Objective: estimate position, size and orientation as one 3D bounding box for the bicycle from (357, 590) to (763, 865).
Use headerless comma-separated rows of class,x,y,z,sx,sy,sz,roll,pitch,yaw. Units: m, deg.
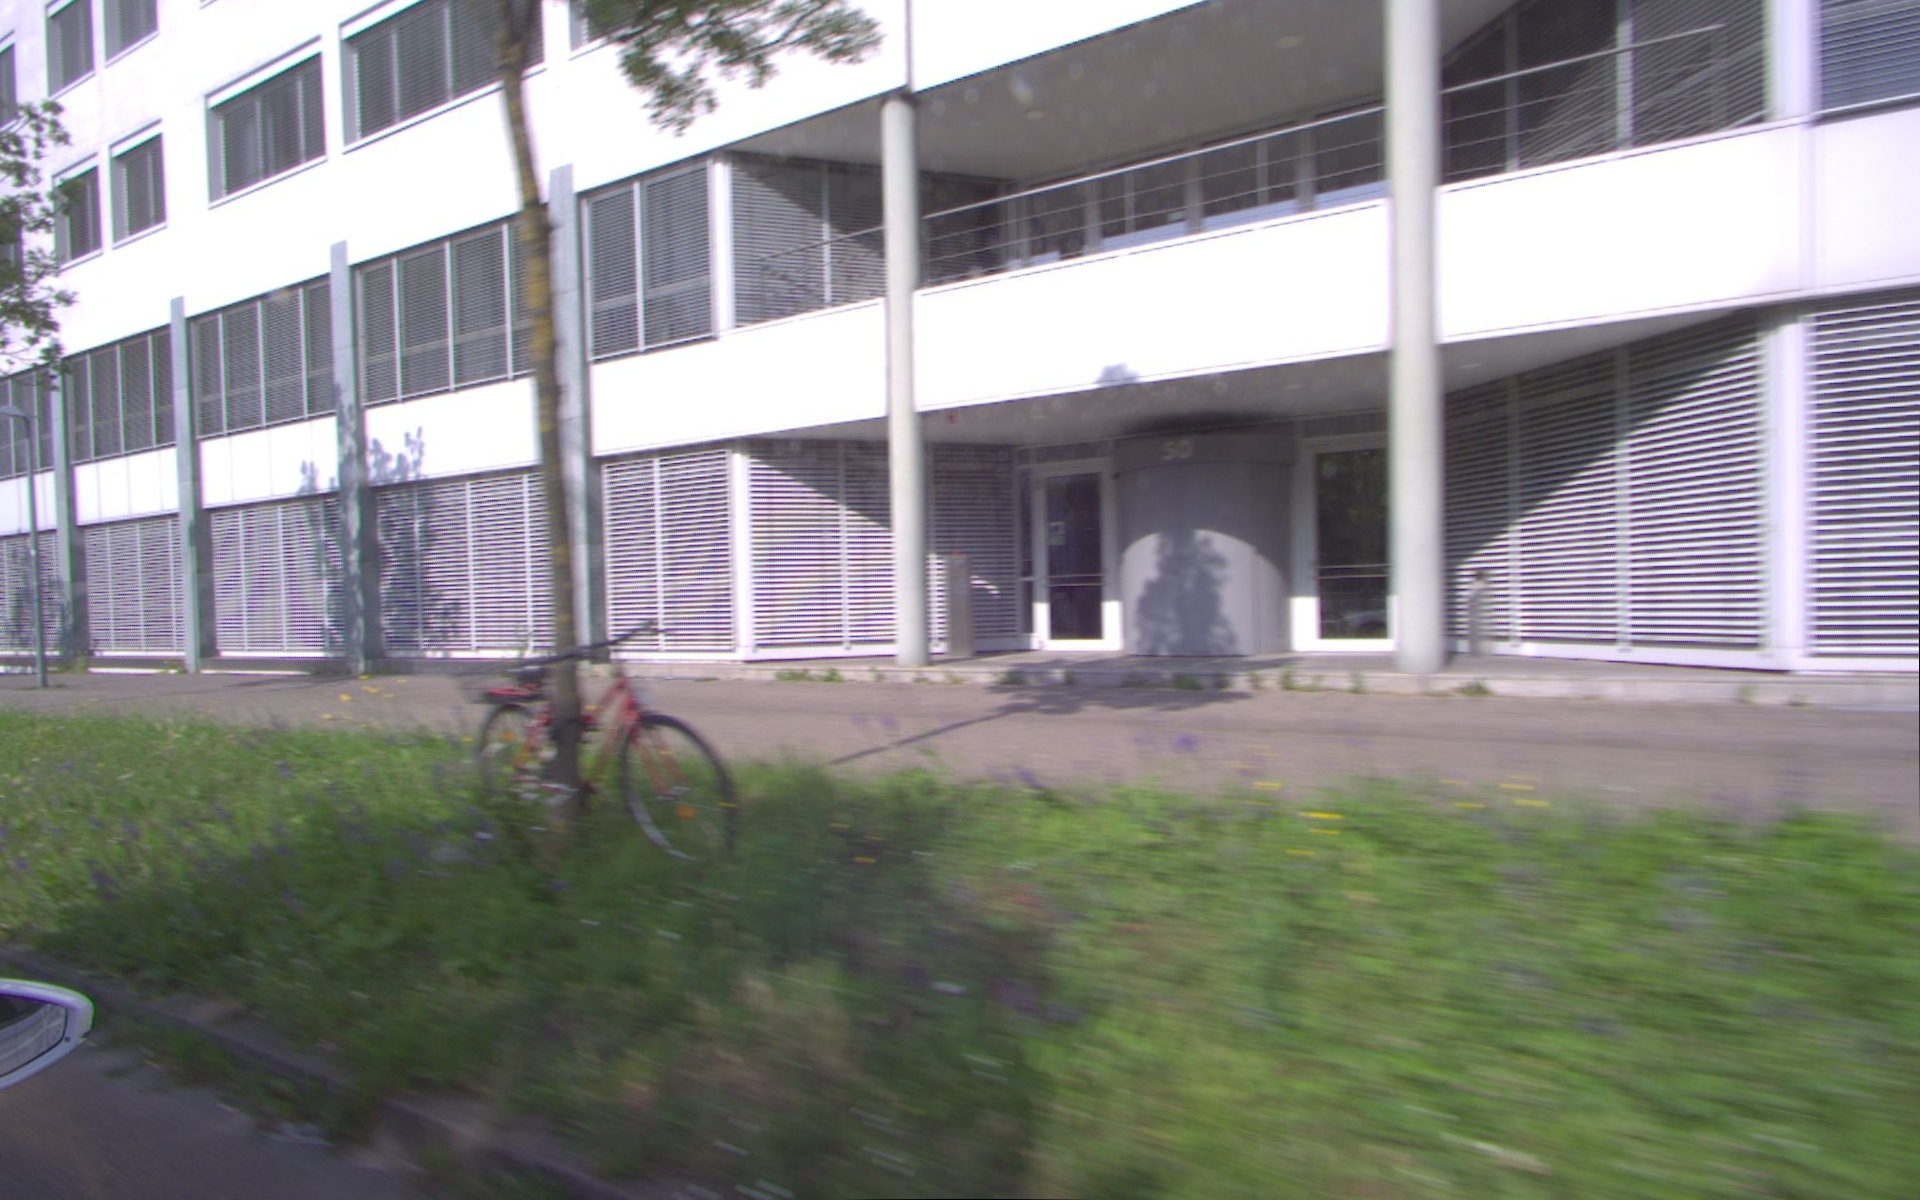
bicycle,-1.810,0.496,4.455,1.851,1.030,0.617,-1,0,28
